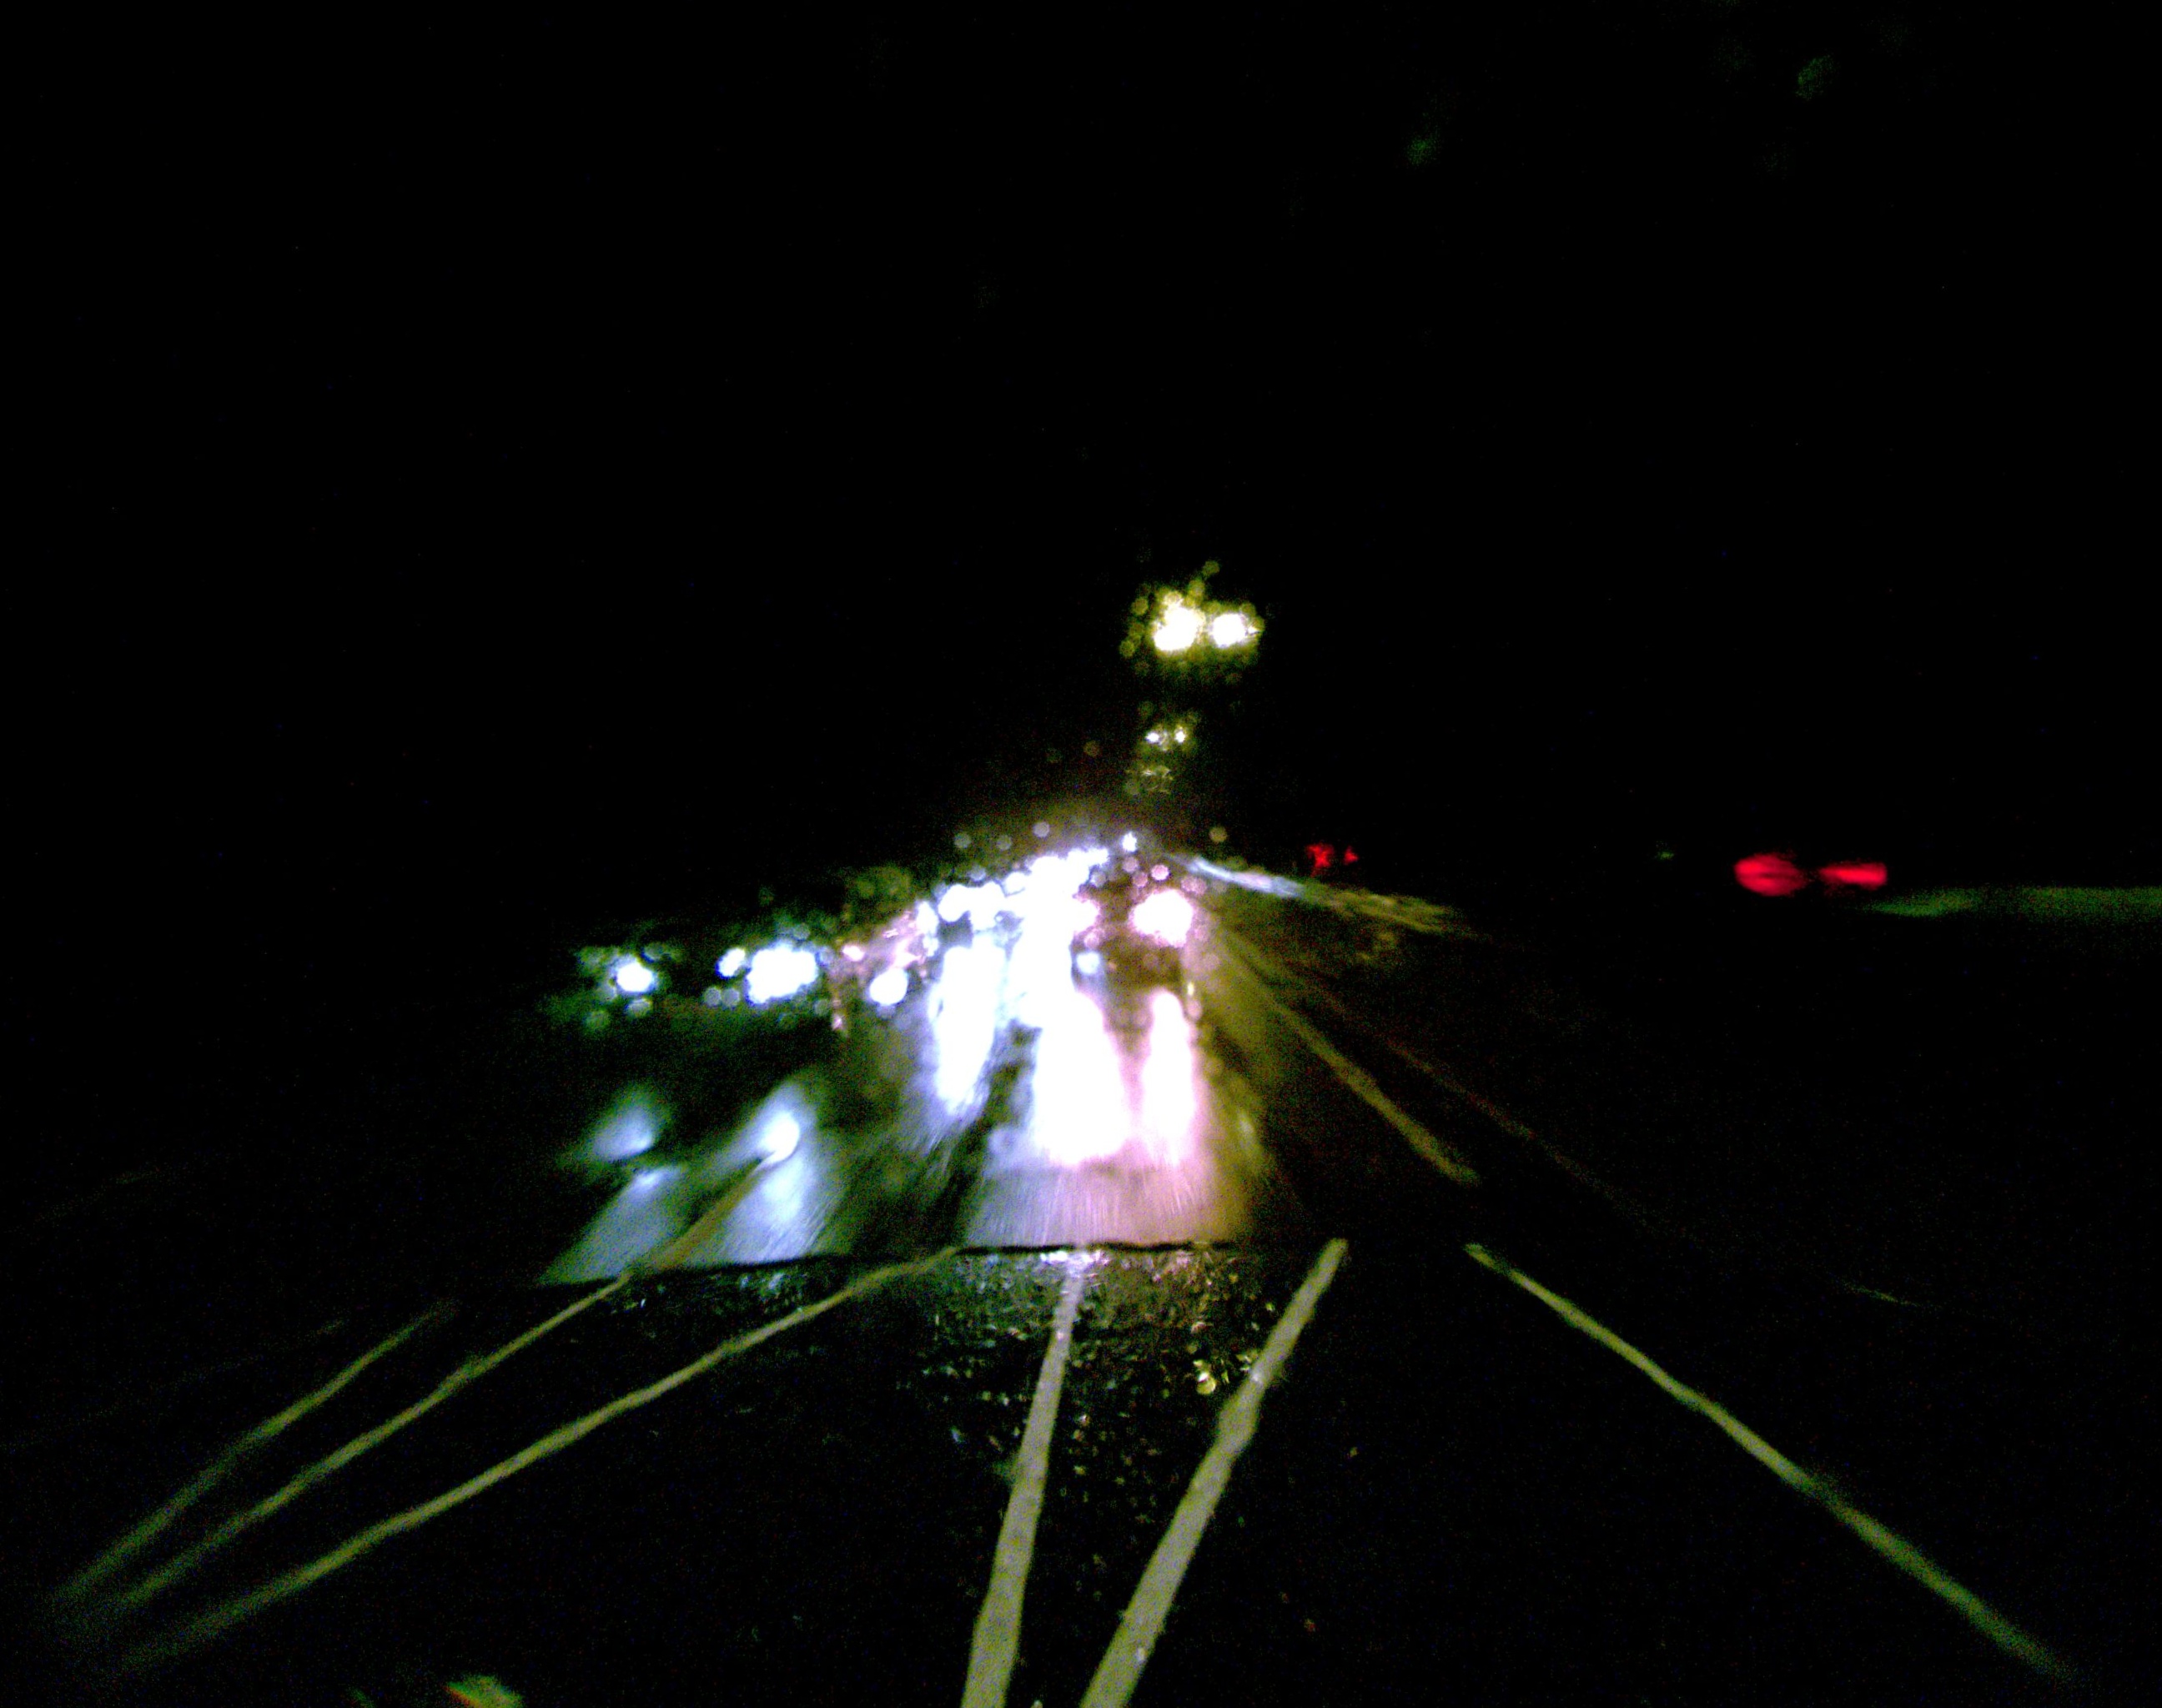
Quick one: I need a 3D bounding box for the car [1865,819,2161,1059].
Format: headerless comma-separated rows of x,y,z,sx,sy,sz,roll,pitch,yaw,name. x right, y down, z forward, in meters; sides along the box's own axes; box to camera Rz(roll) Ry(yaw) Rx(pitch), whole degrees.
8.235,0.568,4.929,1.874,1.598,4.247,-2,1,-1,car

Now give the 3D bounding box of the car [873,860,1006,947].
-2.785,0.917,15.922,1.742,1.409,4.140,-2,1,3,car

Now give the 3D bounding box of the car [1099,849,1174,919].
1.327,0.682,18.983,1.606,1.417,3.389,-4,1,2,car

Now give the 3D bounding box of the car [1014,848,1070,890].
-1.580,0.600,32.663,1.998,1.589,4.391,-1,1,2,car

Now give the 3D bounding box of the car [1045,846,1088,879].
-0.697,0.428,40.506,1.998,1.589,4.391,-1,1,2,car

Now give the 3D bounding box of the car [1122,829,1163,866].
3.581,-0.403,44.875,1.998,2.002,3.999,-2,1,1,car

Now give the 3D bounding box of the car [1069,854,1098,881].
0.209,0.971,55.838,1.998,1.789,4.000,-1,1,2,car

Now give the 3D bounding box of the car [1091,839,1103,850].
2.951,-1.706,138.454,1.998,2.002,3.999,-2,1,1,car

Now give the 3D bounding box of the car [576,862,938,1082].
-2.933,0.950,8.091,1.711,1.513,4.414,-2,1,3,car

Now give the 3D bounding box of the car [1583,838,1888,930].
11.780,0.427,14.232,1.716,1.415,4.666,-1,1,1,car

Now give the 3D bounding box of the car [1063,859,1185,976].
0.618,0.833,11.478,1.497,1.416,3.390,-3,0,2,car

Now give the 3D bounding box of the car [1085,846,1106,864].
1.414,0.066,73.263,1.869,1.654,4.000,-1,1,3,car

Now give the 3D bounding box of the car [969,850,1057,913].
-1.887,0.732,22.432,1.998,1.589,4.391,-1,1,2,car

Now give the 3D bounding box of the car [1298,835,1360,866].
13.337,-0.236,41.161,1.998,1.500,4.839,-2,1,3,car

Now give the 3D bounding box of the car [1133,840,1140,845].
17.406,-3.639,238.371,1.998,1.669,4.000,-2,1,5,car

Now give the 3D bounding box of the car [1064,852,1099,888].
0.048,0.976,48.310,1.998,2.002,4.000,-2,1,2,car
